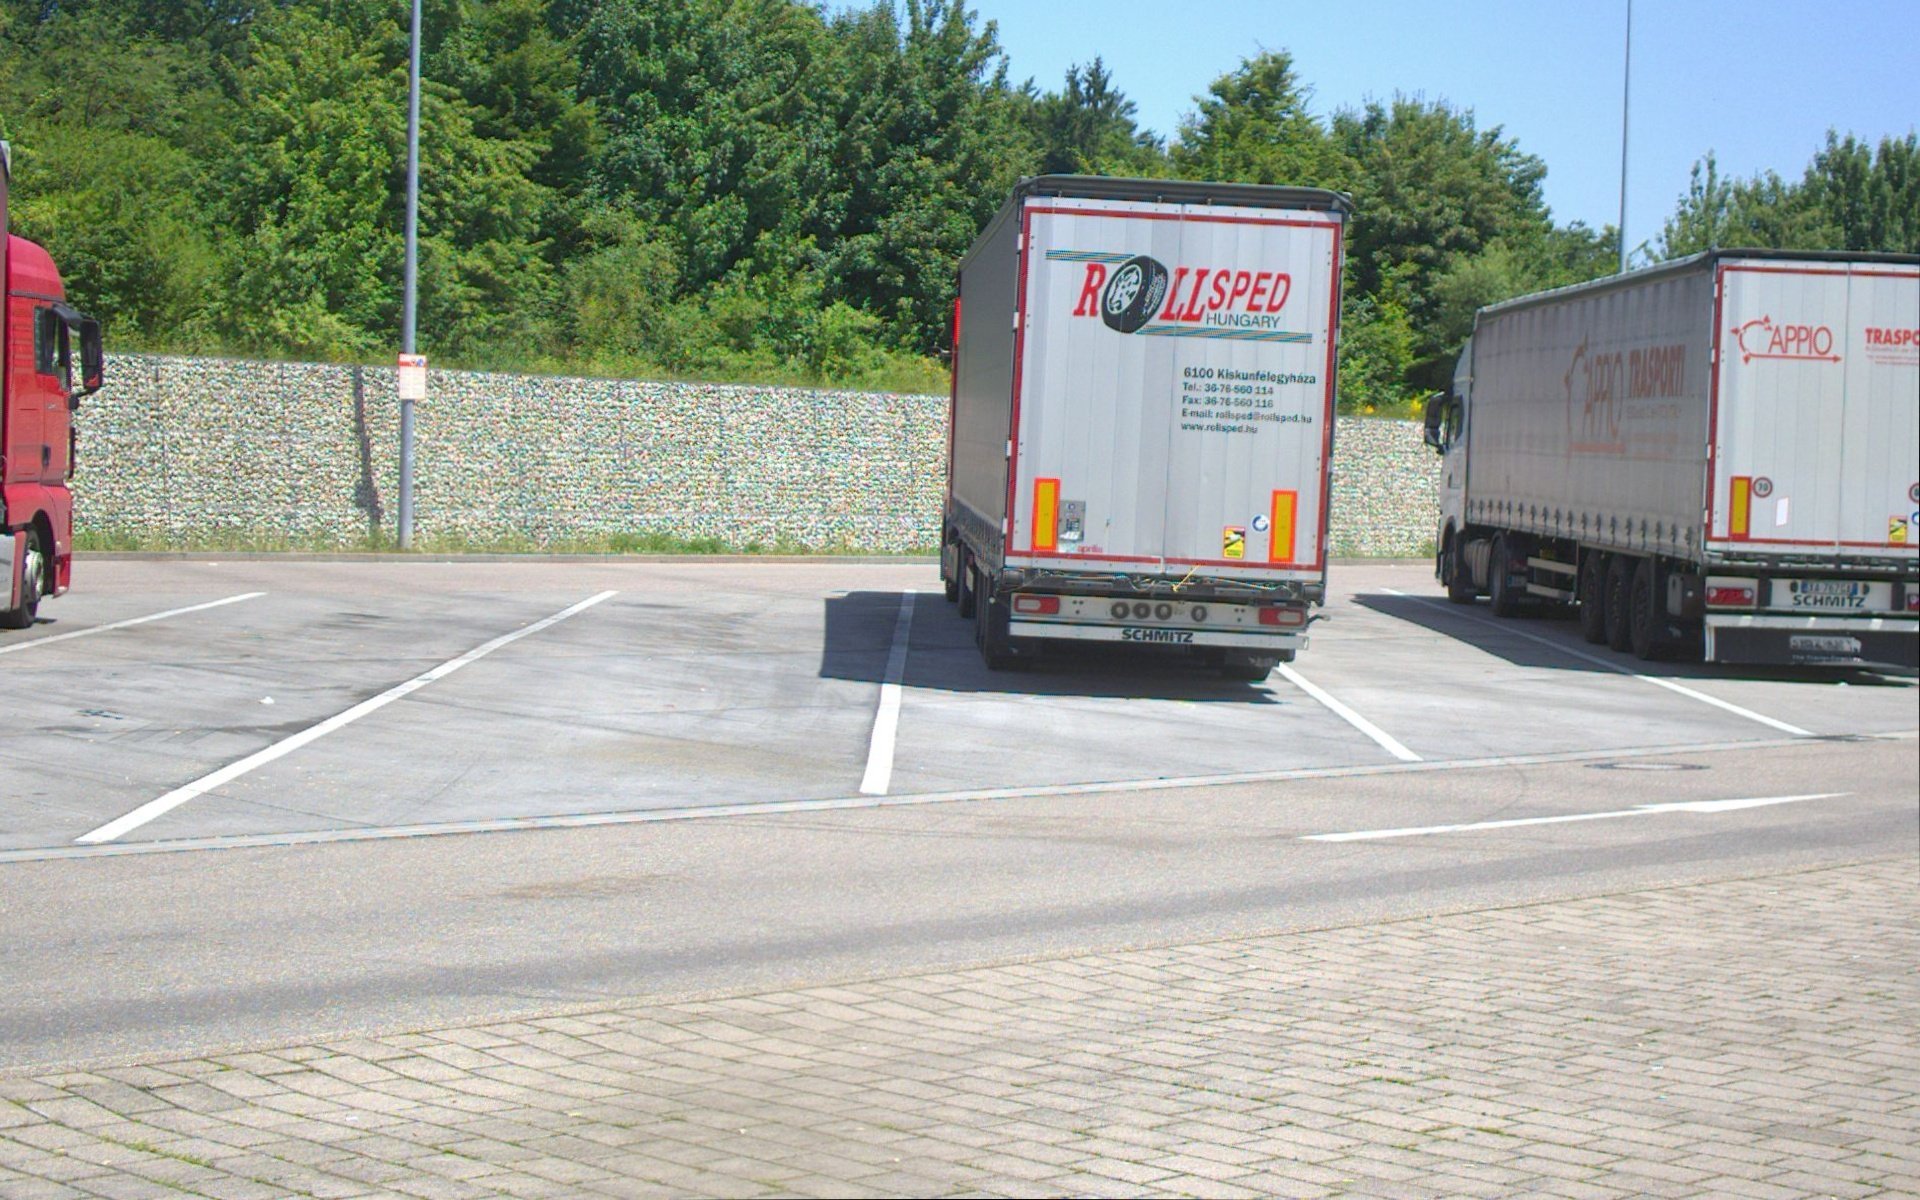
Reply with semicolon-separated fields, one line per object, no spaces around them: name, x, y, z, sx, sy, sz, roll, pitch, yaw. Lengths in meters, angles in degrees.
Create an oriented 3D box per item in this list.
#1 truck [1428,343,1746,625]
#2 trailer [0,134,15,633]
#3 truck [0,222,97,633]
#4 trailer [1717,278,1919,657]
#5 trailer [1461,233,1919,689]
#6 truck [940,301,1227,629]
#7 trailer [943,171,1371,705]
truck;8.093;-1.567;45.123;2.865;3.351;5.975;2;3;-1
trailer;-9.160;-1.468;21.365;2.821;4.057;13.765;2;3;-1
truck;-9.247;-1.457;28.184;2.812;3.351;5.975;2;3;-1
trailer;11.792;-1.503;39.369;2.858;4.095;13.765;2;3;-1
trailer;8.194;-1.588;38.357;2.858;4.095;13.765;2;3;-1
truck;1.281;-1.572;39.306;2.865;3.351;5.975;2;3;-1
trailer;1.464;-1.568;33.104;2.858;3.958;13.765;2;3;-1
